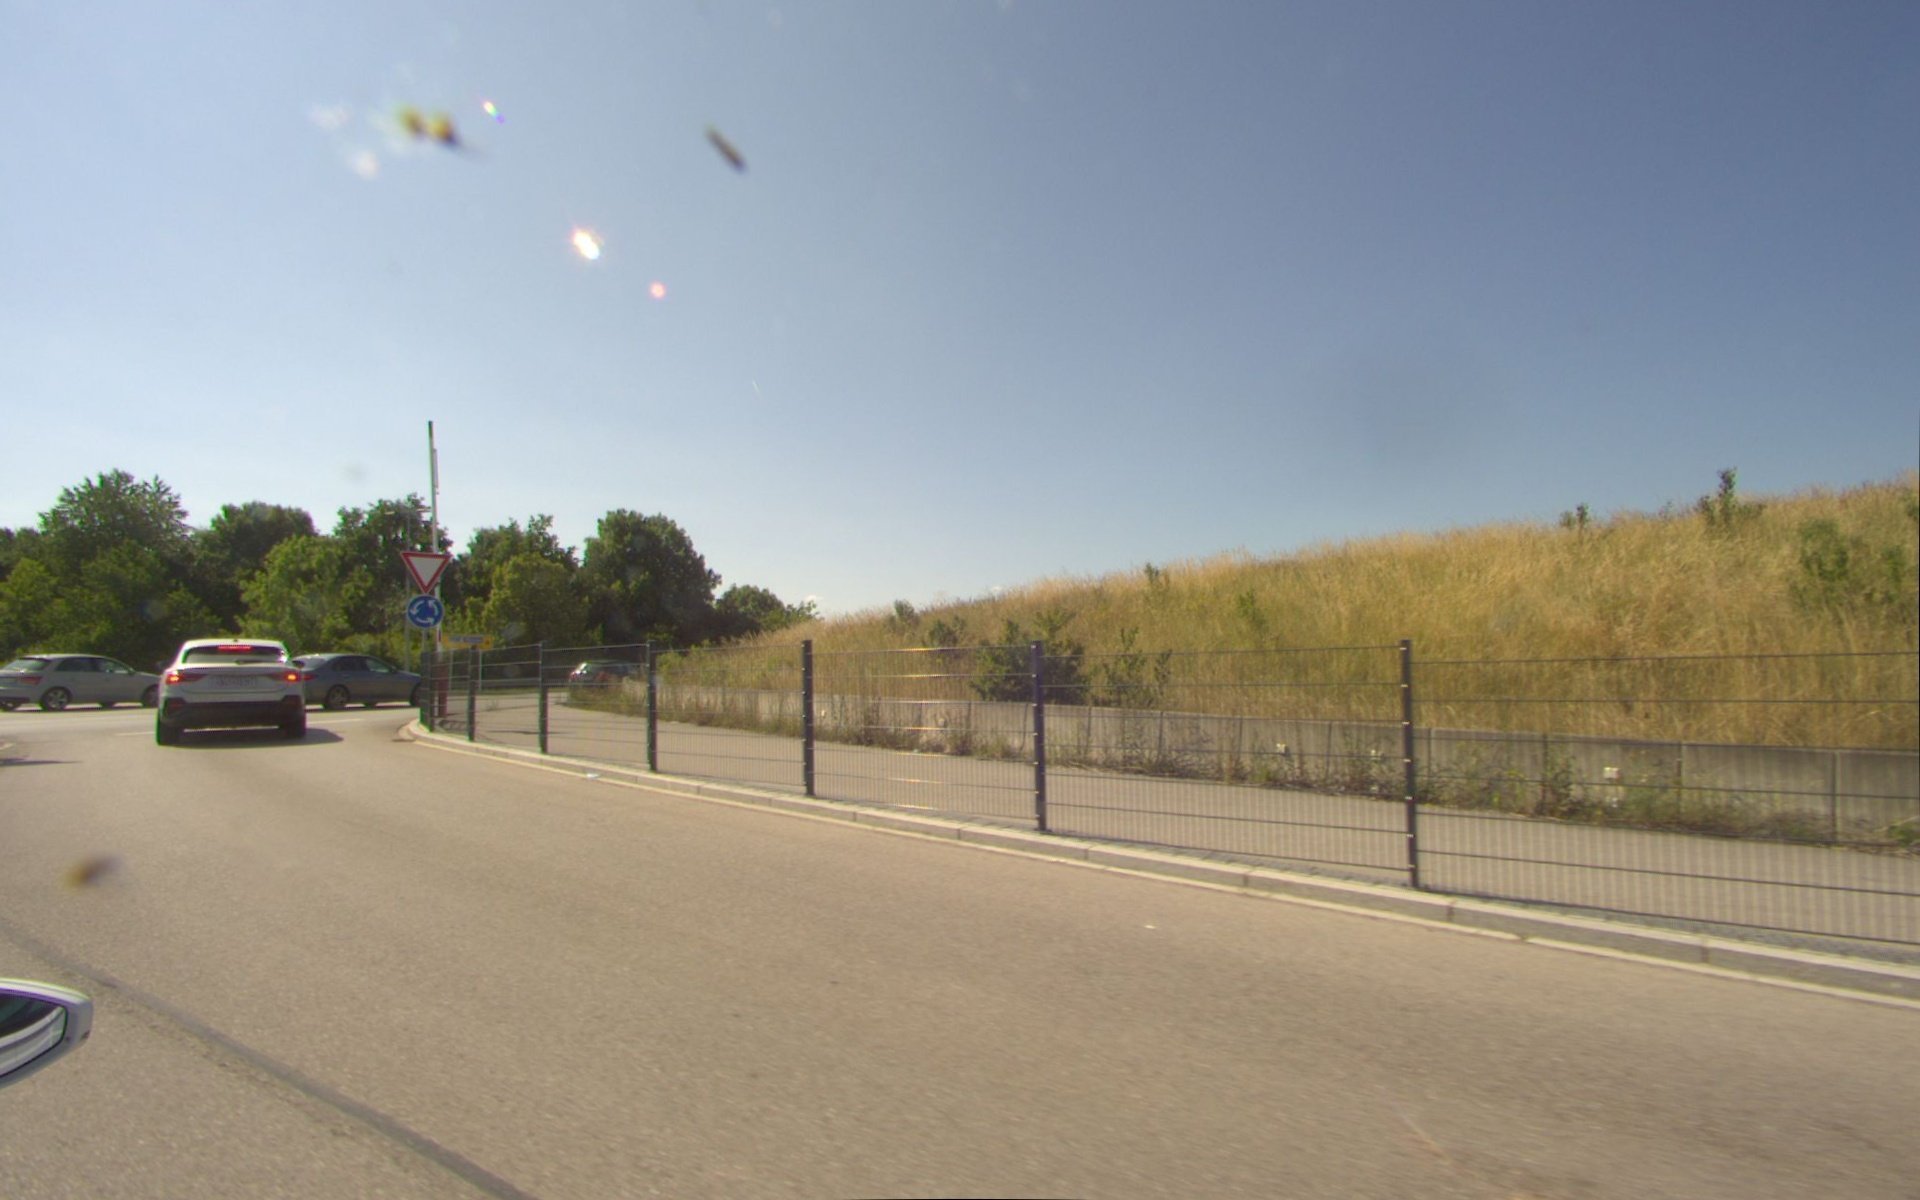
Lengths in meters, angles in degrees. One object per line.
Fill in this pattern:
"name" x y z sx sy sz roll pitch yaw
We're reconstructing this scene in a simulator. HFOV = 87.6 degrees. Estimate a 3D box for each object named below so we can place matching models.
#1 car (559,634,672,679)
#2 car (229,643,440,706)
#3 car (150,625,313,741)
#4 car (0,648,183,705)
"car" -13.341 2.224 38.940 1.792 1.637 3.947 -2 -4 30
"car" -16.106 1.927 26.174 1.961 1.470 4.877 0 -4 8
"car" -11.876 1.282 16.208 1.827 1.615 4.290 2 -4 -40
"car" -22.900 1.998 26.324 1.503 1.368 3.770 -1 -4 14
